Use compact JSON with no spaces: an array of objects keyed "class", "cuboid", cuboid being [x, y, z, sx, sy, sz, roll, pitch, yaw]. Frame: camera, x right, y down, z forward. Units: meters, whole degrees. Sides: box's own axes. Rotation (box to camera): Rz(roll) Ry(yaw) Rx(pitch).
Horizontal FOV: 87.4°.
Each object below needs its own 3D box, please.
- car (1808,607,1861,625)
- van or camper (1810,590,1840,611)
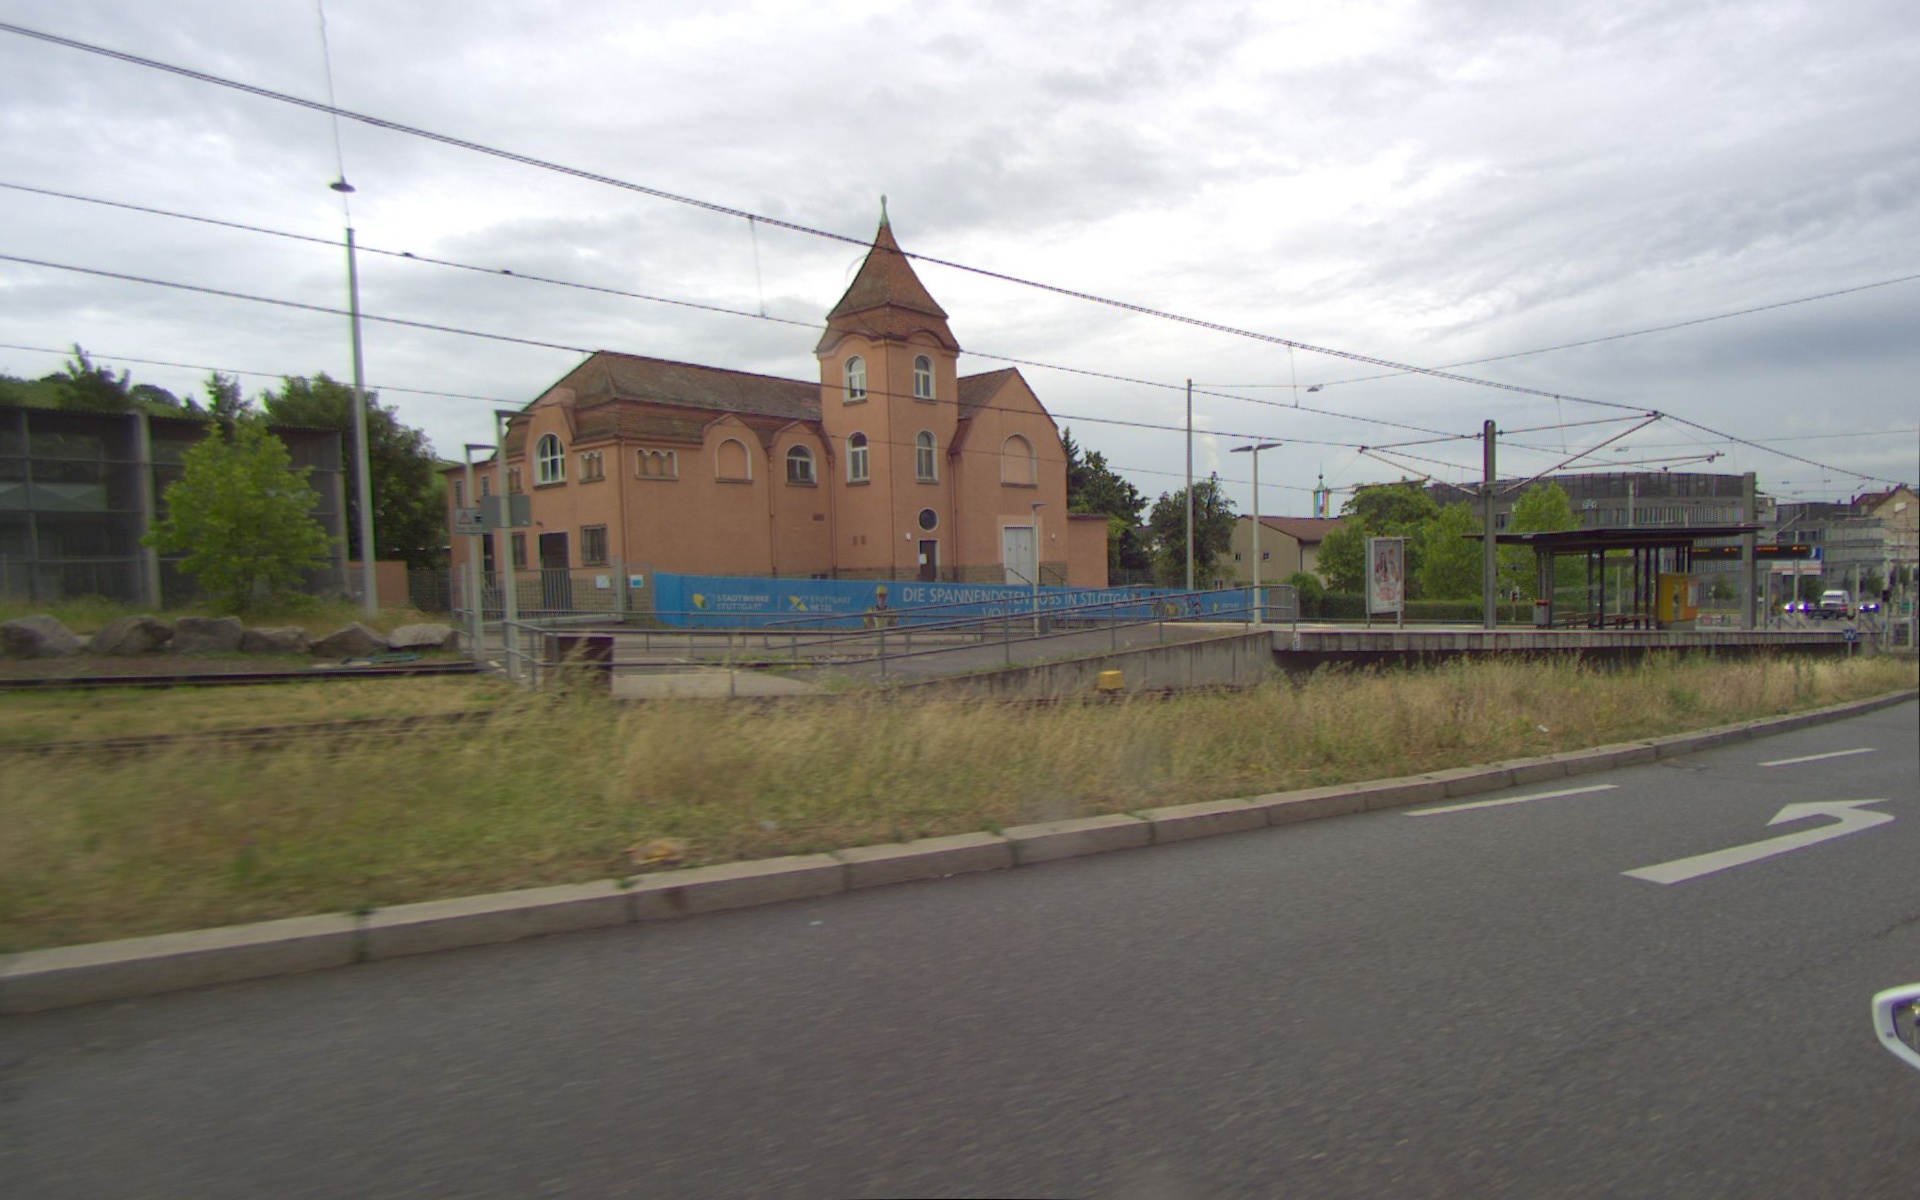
[{"class":"car","cuboid":[87.617,1.605,100.680,1.960,1.729,4.001,1,0,3]},{"class":"van or camper","cuboid":[101.398,0.129,117.751,3.965,2.376,1.978,1,-2,-39]}]
